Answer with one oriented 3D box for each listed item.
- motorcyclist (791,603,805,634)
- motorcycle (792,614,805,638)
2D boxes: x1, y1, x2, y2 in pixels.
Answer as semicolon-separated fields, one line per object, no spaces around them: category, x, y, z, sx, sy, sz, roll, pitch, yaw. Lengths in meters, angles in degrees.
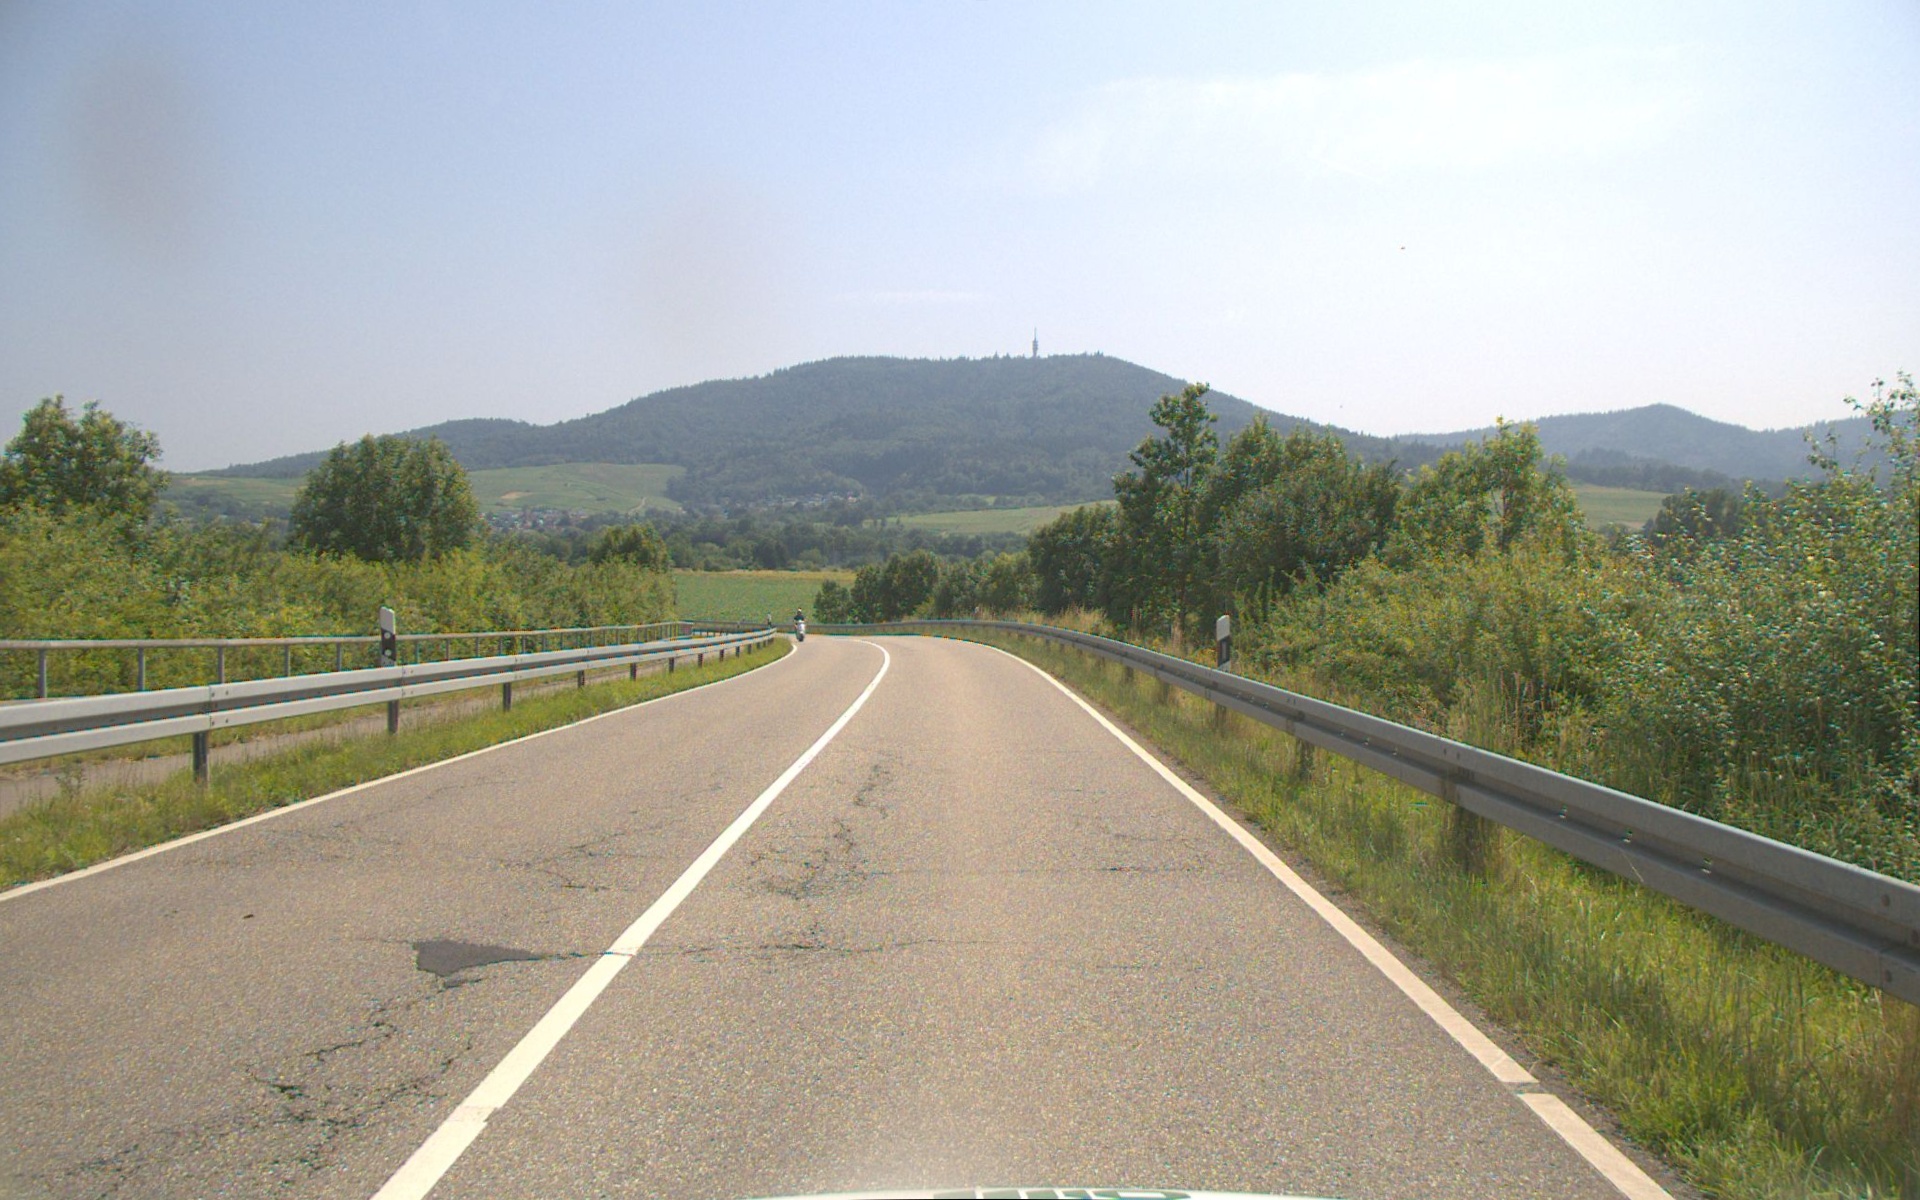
motorcyclist;-8.747;0.997;89.316;0.642;1.589;0.774;-3;0;-7
motorcycle;-8.740;1.371;89.296;0.631;1.245;1.636;-3;0;-6
